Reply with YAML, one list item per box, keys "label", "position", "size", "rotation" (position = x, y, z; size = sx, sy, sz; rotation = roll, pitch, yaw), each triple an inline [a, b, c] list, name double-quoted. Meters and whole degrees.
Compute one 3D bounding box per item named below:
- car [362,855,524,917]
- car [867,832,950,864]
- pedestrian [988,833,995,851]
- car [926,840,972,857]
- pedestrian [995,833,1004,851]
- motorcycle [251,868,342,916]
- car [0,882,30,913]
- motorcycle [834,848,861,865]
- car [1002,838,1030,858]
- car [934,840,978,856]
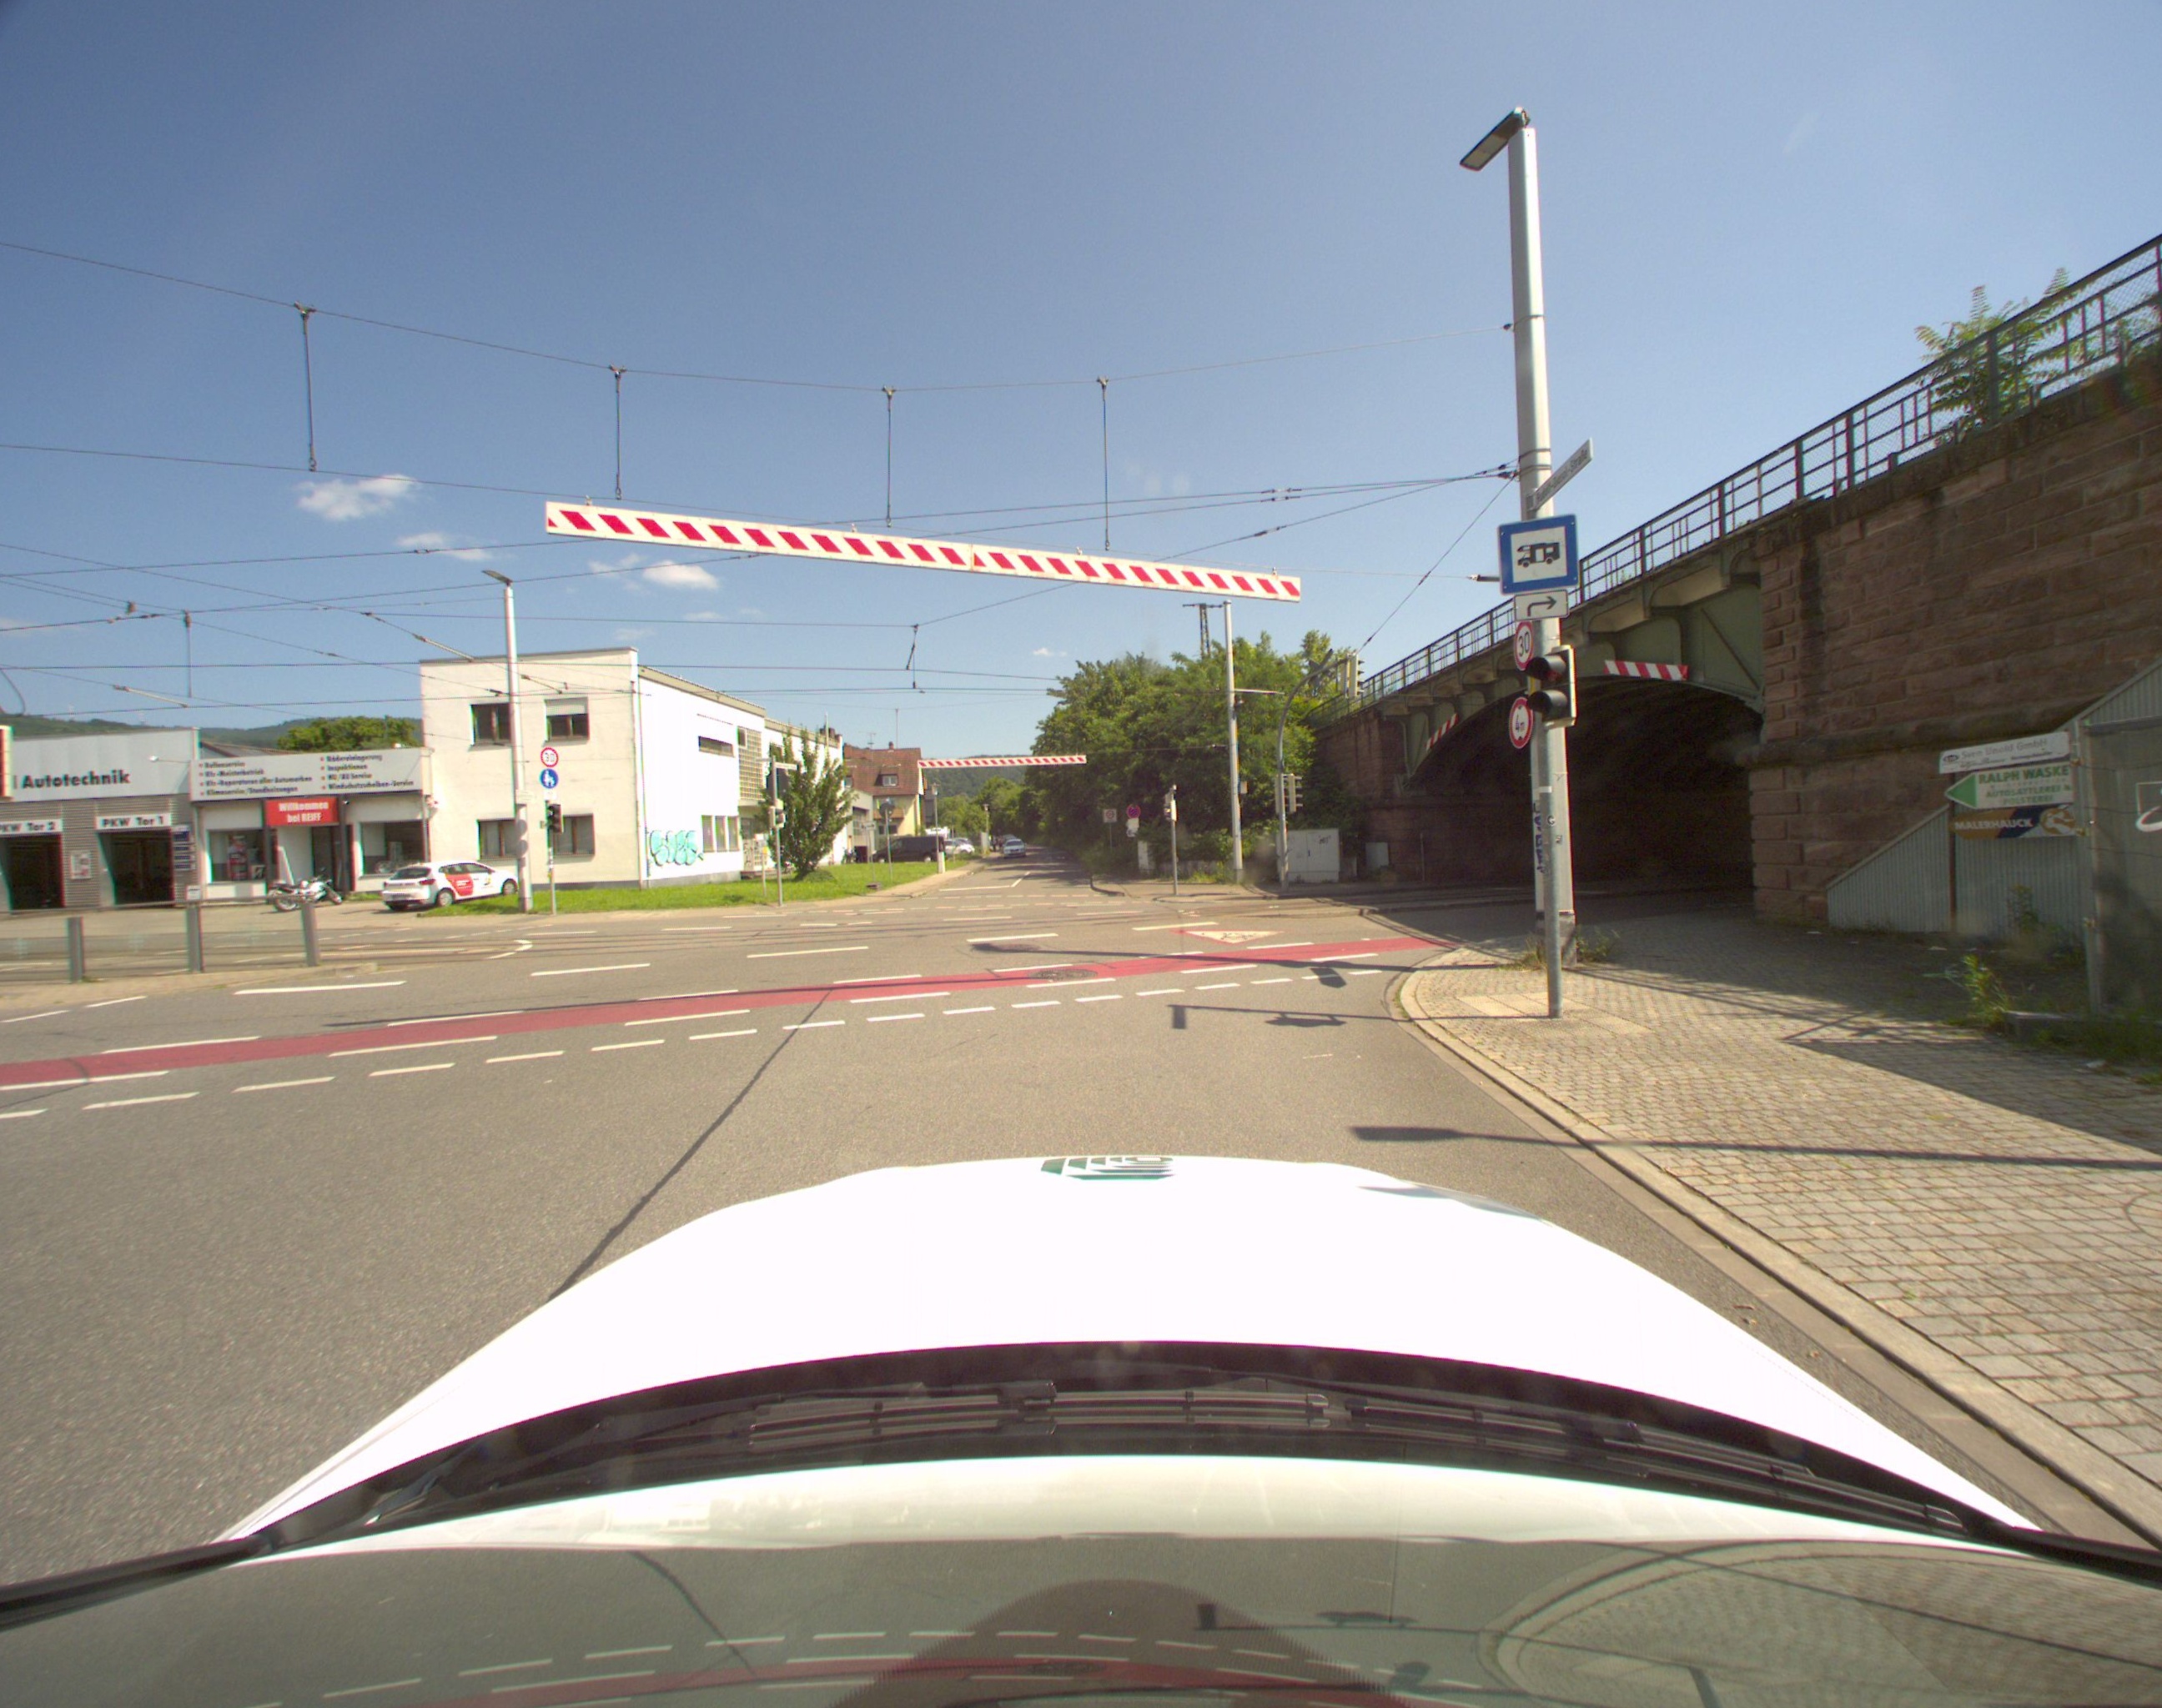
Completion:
- label: "car"
  position: [-20.764, 0.985, 26.751]
  size: [1.876, 1.462, 4.006]
  rotation: [-2, 4, 3]
- label: "car"
  position: [-11.763, -0.417, 55.796]
  size: [5.238, 1.816, 1.997]
  rotation: [-3, 1, -4]
- label: "pedestrian"
  position: [-9.022, -1.186, 82.376]
  size: [0.652, 1.763, 0.803]
  rotation: [-1, -1, -3]
- label: "car"
  position: [-11.304, -0.500, 69.974]
  size: [3.710, 1.371, 1.603]
  rotation: [-1, 0, -2]
- label: "pedestrian"
  position: [-8.207, -1.194, 82.366]
  size: [0.874, 1.763, 0.730]
  rotation: [-1, -1, -3]
- label: "motorcycle"
  position: [-26.353, 1.253, 27.419]
  size: [0.725, 1.308, 2.193]
  rotation: [-3, 4, 4]
- label: "car"
  position: [-50.030, 2.059, 36.163]
  size: [1.714, 1.376, 3.774]
  rotation: [-2, 1, 0]
- label: "motorcycle"
  position: [-14.354, 0.163, 50.194]
  size: [0.849, 1.032, 2.567]
  rotation: [-1, 0, 1]
- label: "car"
  position: [-5.328, -0.494, 66.805]
  size: [2.081, 1.510, 4.536]
  rotation: [-1, 2, -2]
- label: "car"
  position: [-11.139, -0.512, 72.589]
  size: [3.710, 1.371, 1.603]
  rotation: [-1, 0, -2]
